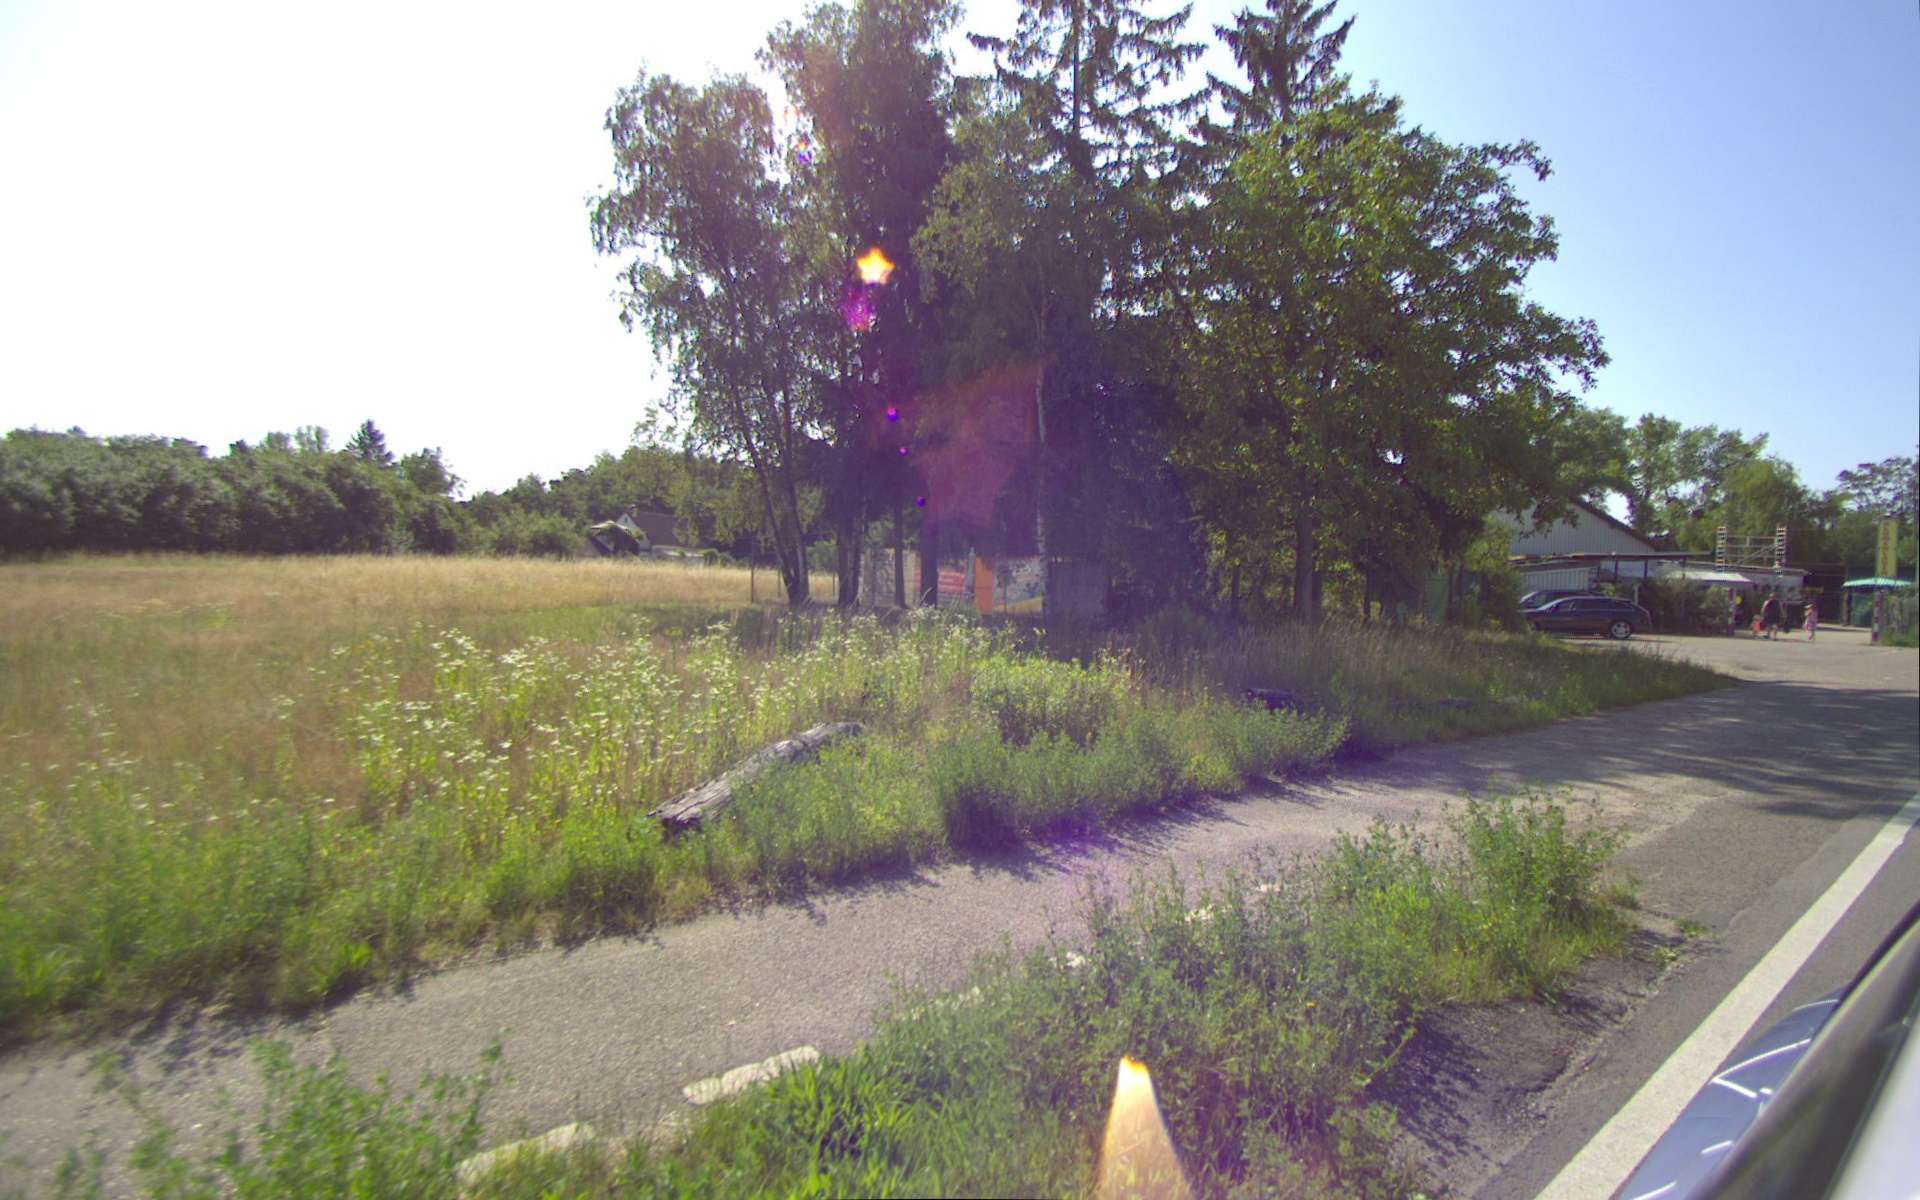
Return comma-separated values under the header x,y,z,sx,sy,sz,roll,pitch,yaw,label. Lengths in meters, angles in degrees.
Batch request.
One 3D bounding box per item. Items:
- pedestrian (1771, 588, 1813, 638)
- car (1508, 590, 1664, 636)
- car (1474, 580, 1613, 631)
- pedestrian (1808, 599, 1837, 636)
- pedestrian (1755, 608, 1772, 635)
x,y,z,sx,sy,sz,roll,pitch,yaw,label
31.250,0.469,38.033,1.093,1.808,0.925,2,2,35,pedestrian
22.178,0.413,36.057,4.410,1.448,1.703,2,1,21,car
22.642,0.174,39.468,4.410,1.826,1.851,2,1,21,car
32.686,0.638,38.376,0.720,1.354,0.815,2,2,35,pedestrian
30.499,0.823,38.410,0.467,0.996,0.335,2,1,35,pedestrian
